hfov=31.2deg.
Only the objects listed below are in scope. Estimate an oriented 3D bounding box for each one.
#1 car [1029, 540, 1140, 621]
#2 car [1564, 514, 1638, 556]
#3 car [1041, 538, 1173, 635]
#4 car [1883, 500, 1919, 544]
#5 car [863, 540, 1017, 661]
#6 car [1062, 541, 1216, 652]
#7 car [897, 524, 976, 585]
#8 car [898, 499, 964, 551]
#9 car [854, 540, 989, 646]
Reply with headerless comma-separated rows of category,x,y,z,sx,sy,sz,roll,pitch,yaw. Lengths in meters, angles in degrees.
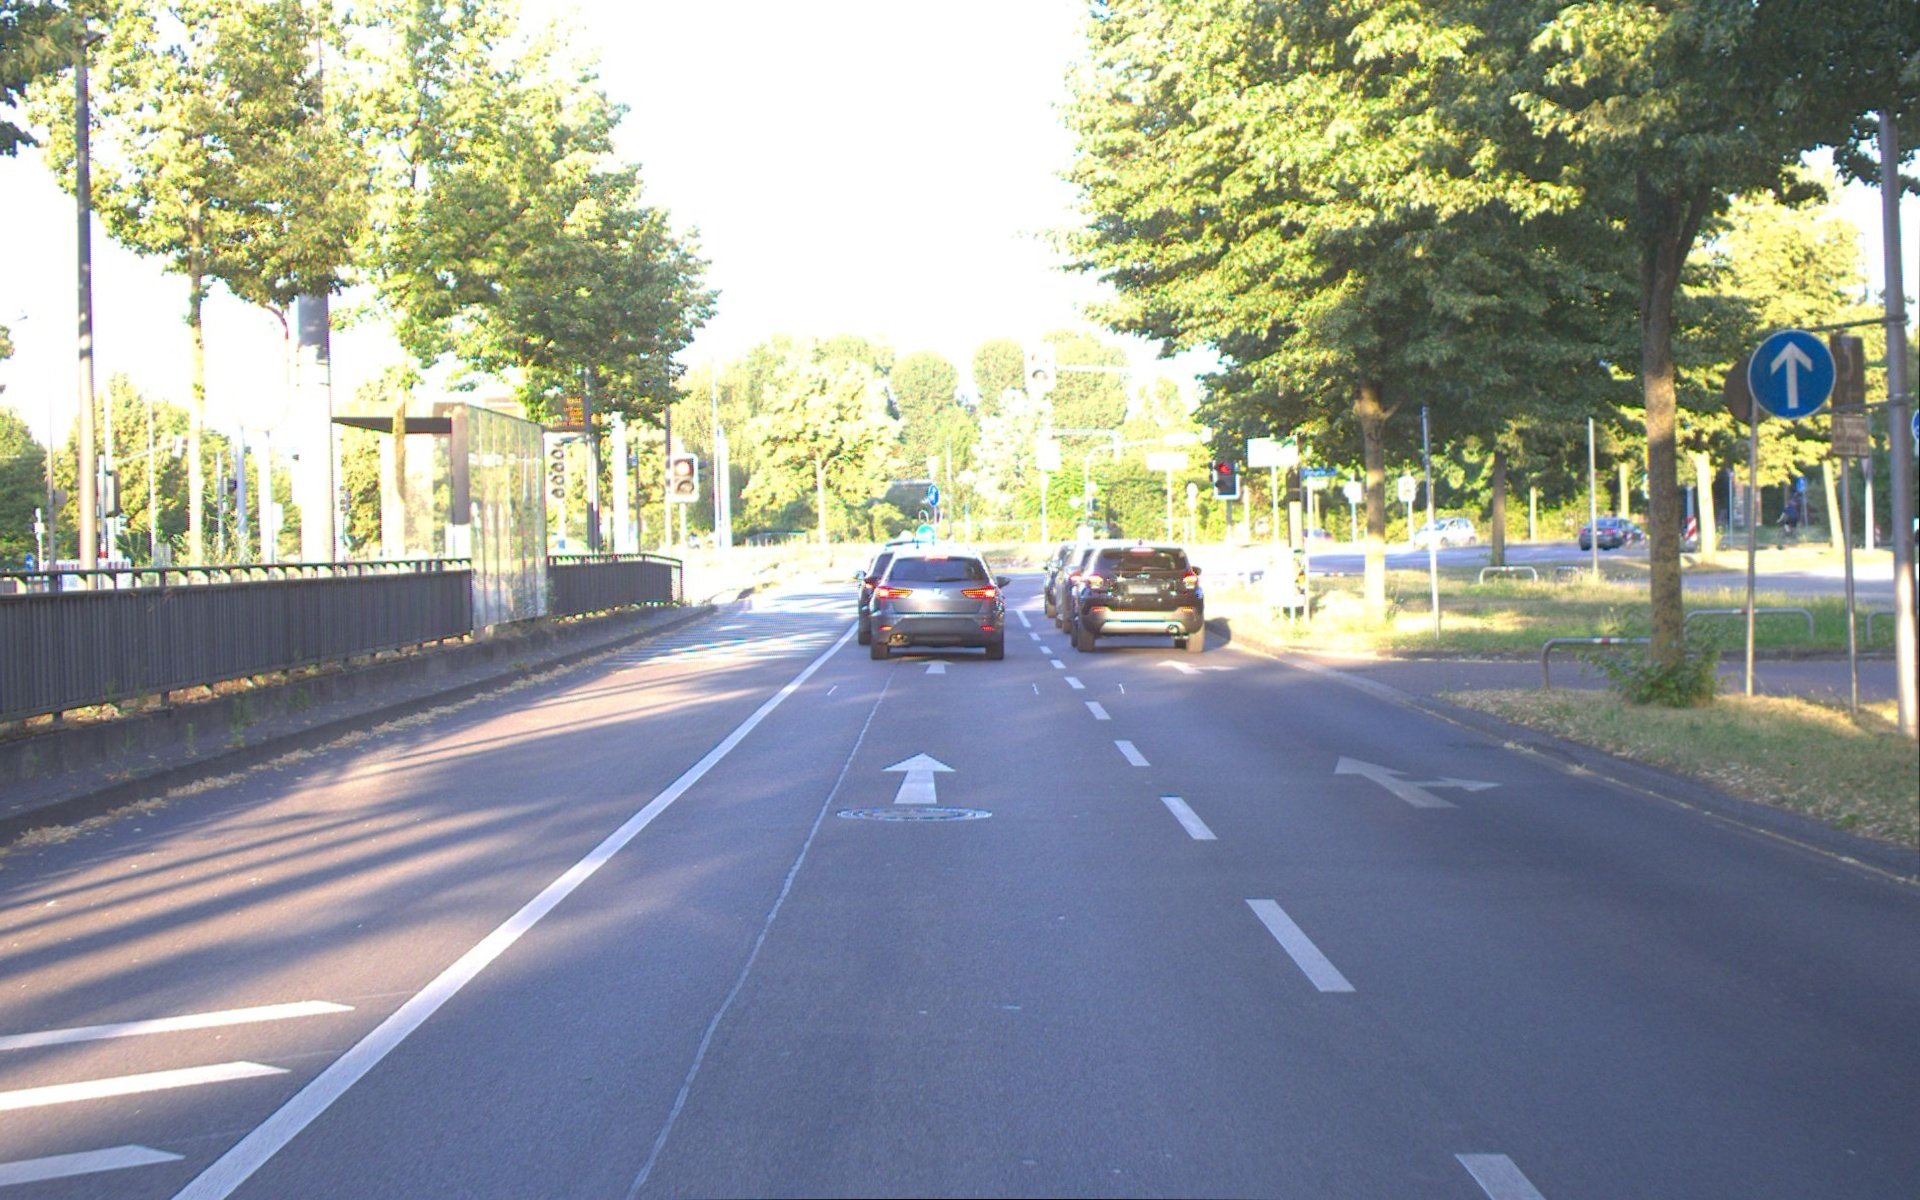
car,2.375,-0.403,66.386,1.911,1.481,4.000,-1,1,-1
car,27.283,-2.784,146.294,1.996,1.722,3.994,-1,1,28
car,2.375,-0.247,56.361,1.911,1.481,4.000,-1,1,-1
car,34.092,-2.715,117.898,4.426,1.481,1.918,-1,1,5
car,-0.279,-0.031,45.372,1.911,1.481,4.000,-1,1,-1
car,2.508,-0.082,49.067,1.911,1.481,4.000,-1,1,-1
car,-0.611,-1.165,87.066,1.911,1.481,4.000,-1,1,-1
car,-0.883,-2.241,103.035,1.911,1.481,4.000,-1,1,-1
car,-0.583,-0.138,51.678,1.911,1.481,4.000,-1,1,-1
